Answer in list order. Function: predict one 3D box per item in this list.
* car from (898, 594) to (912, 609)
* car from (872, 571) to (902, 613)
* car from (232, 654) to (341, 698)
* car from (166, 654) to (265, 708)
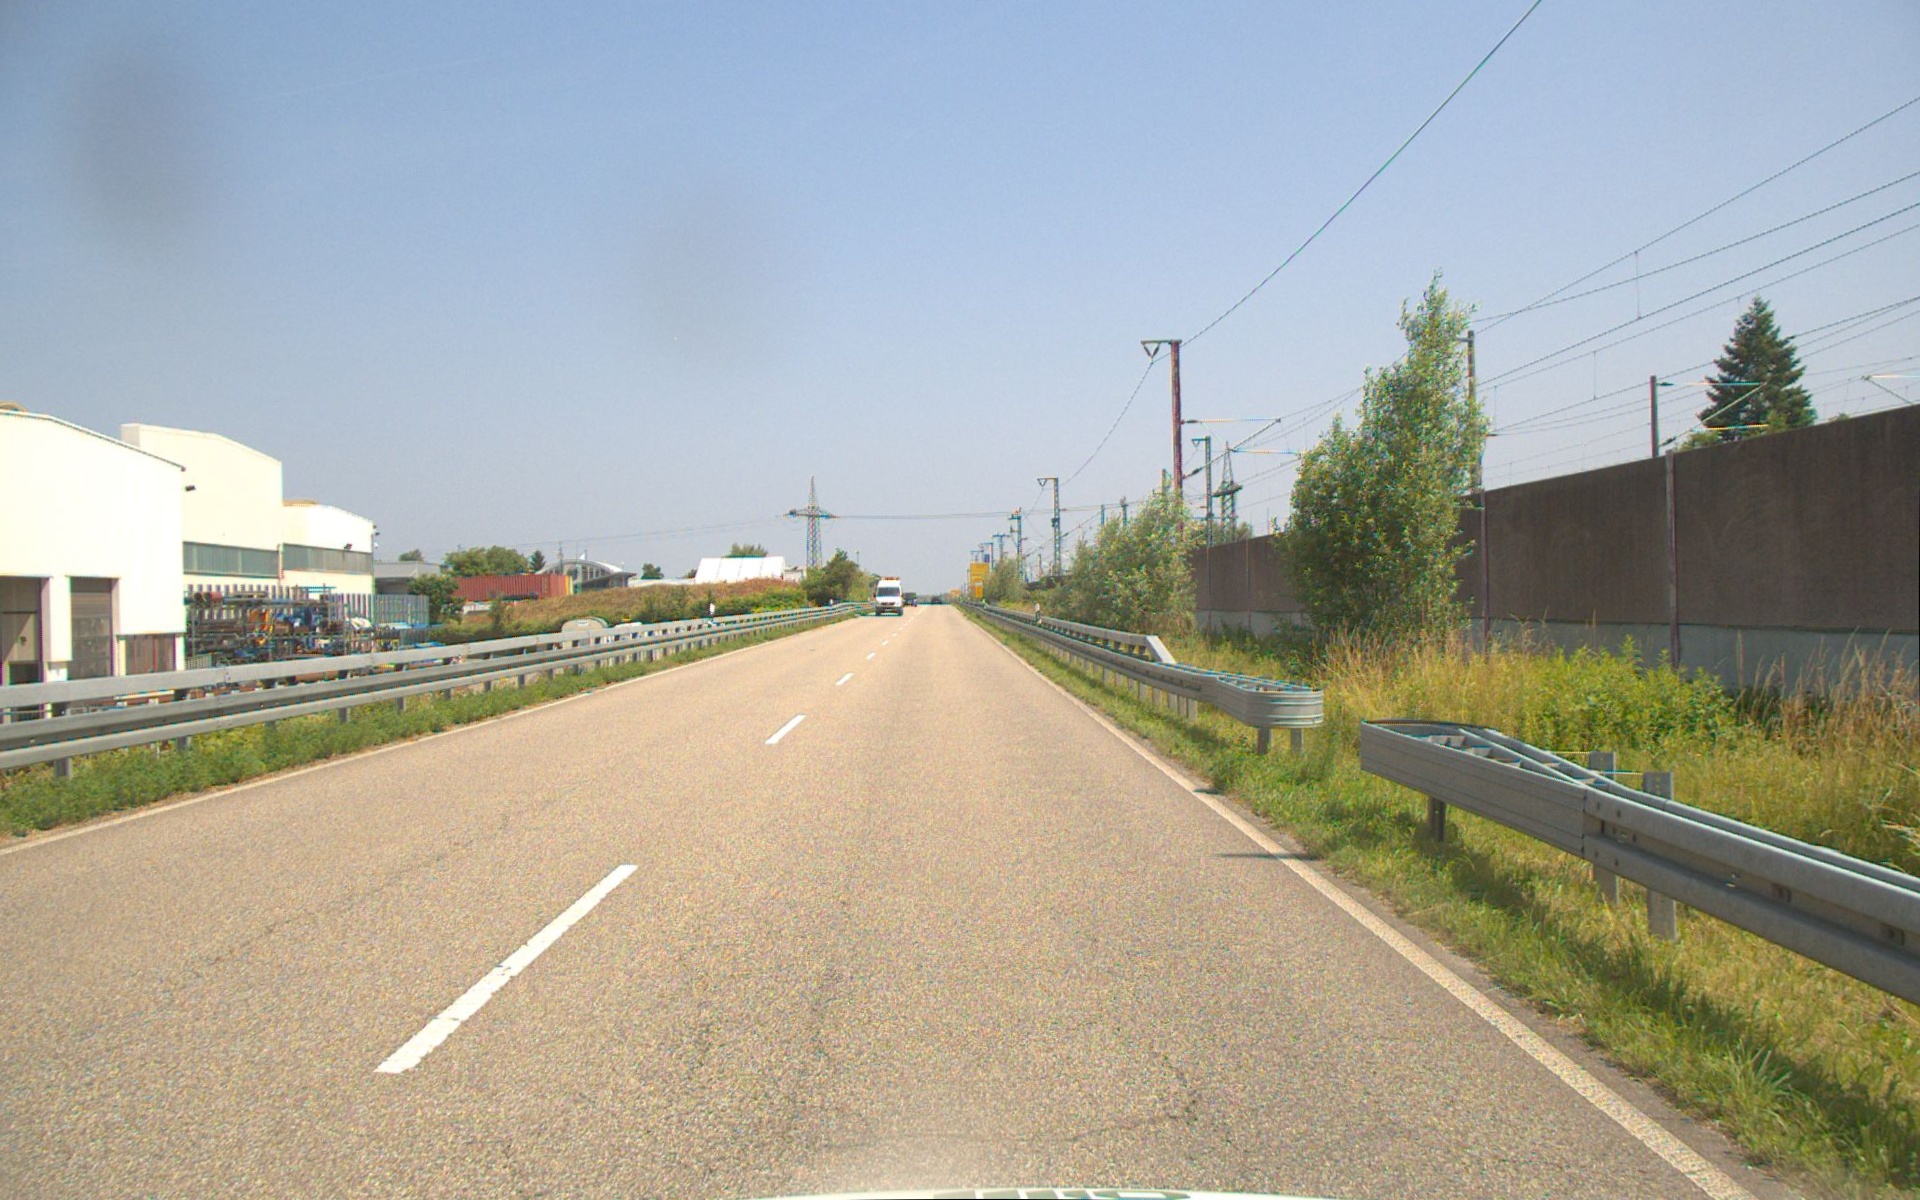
[{"bbox_3d":[-7.205,0.199,217.148,1.854,2.049,5.368,0,0,-1],"label":"car"},{"bbox_3d":[-5.451,-0.595,124.439,2.037,3.014,6.728,0,0,-1],"label":"car"},{"bbox_3d":[-29.026,3.266,71.384,3.911,1.547,1.722,-4,1,-7],"label":"car"},{"bbox_3d":[-29.805,3.226,66.297,3.071,1.803,1.674,-6,0,-4],"label":"car"}]
